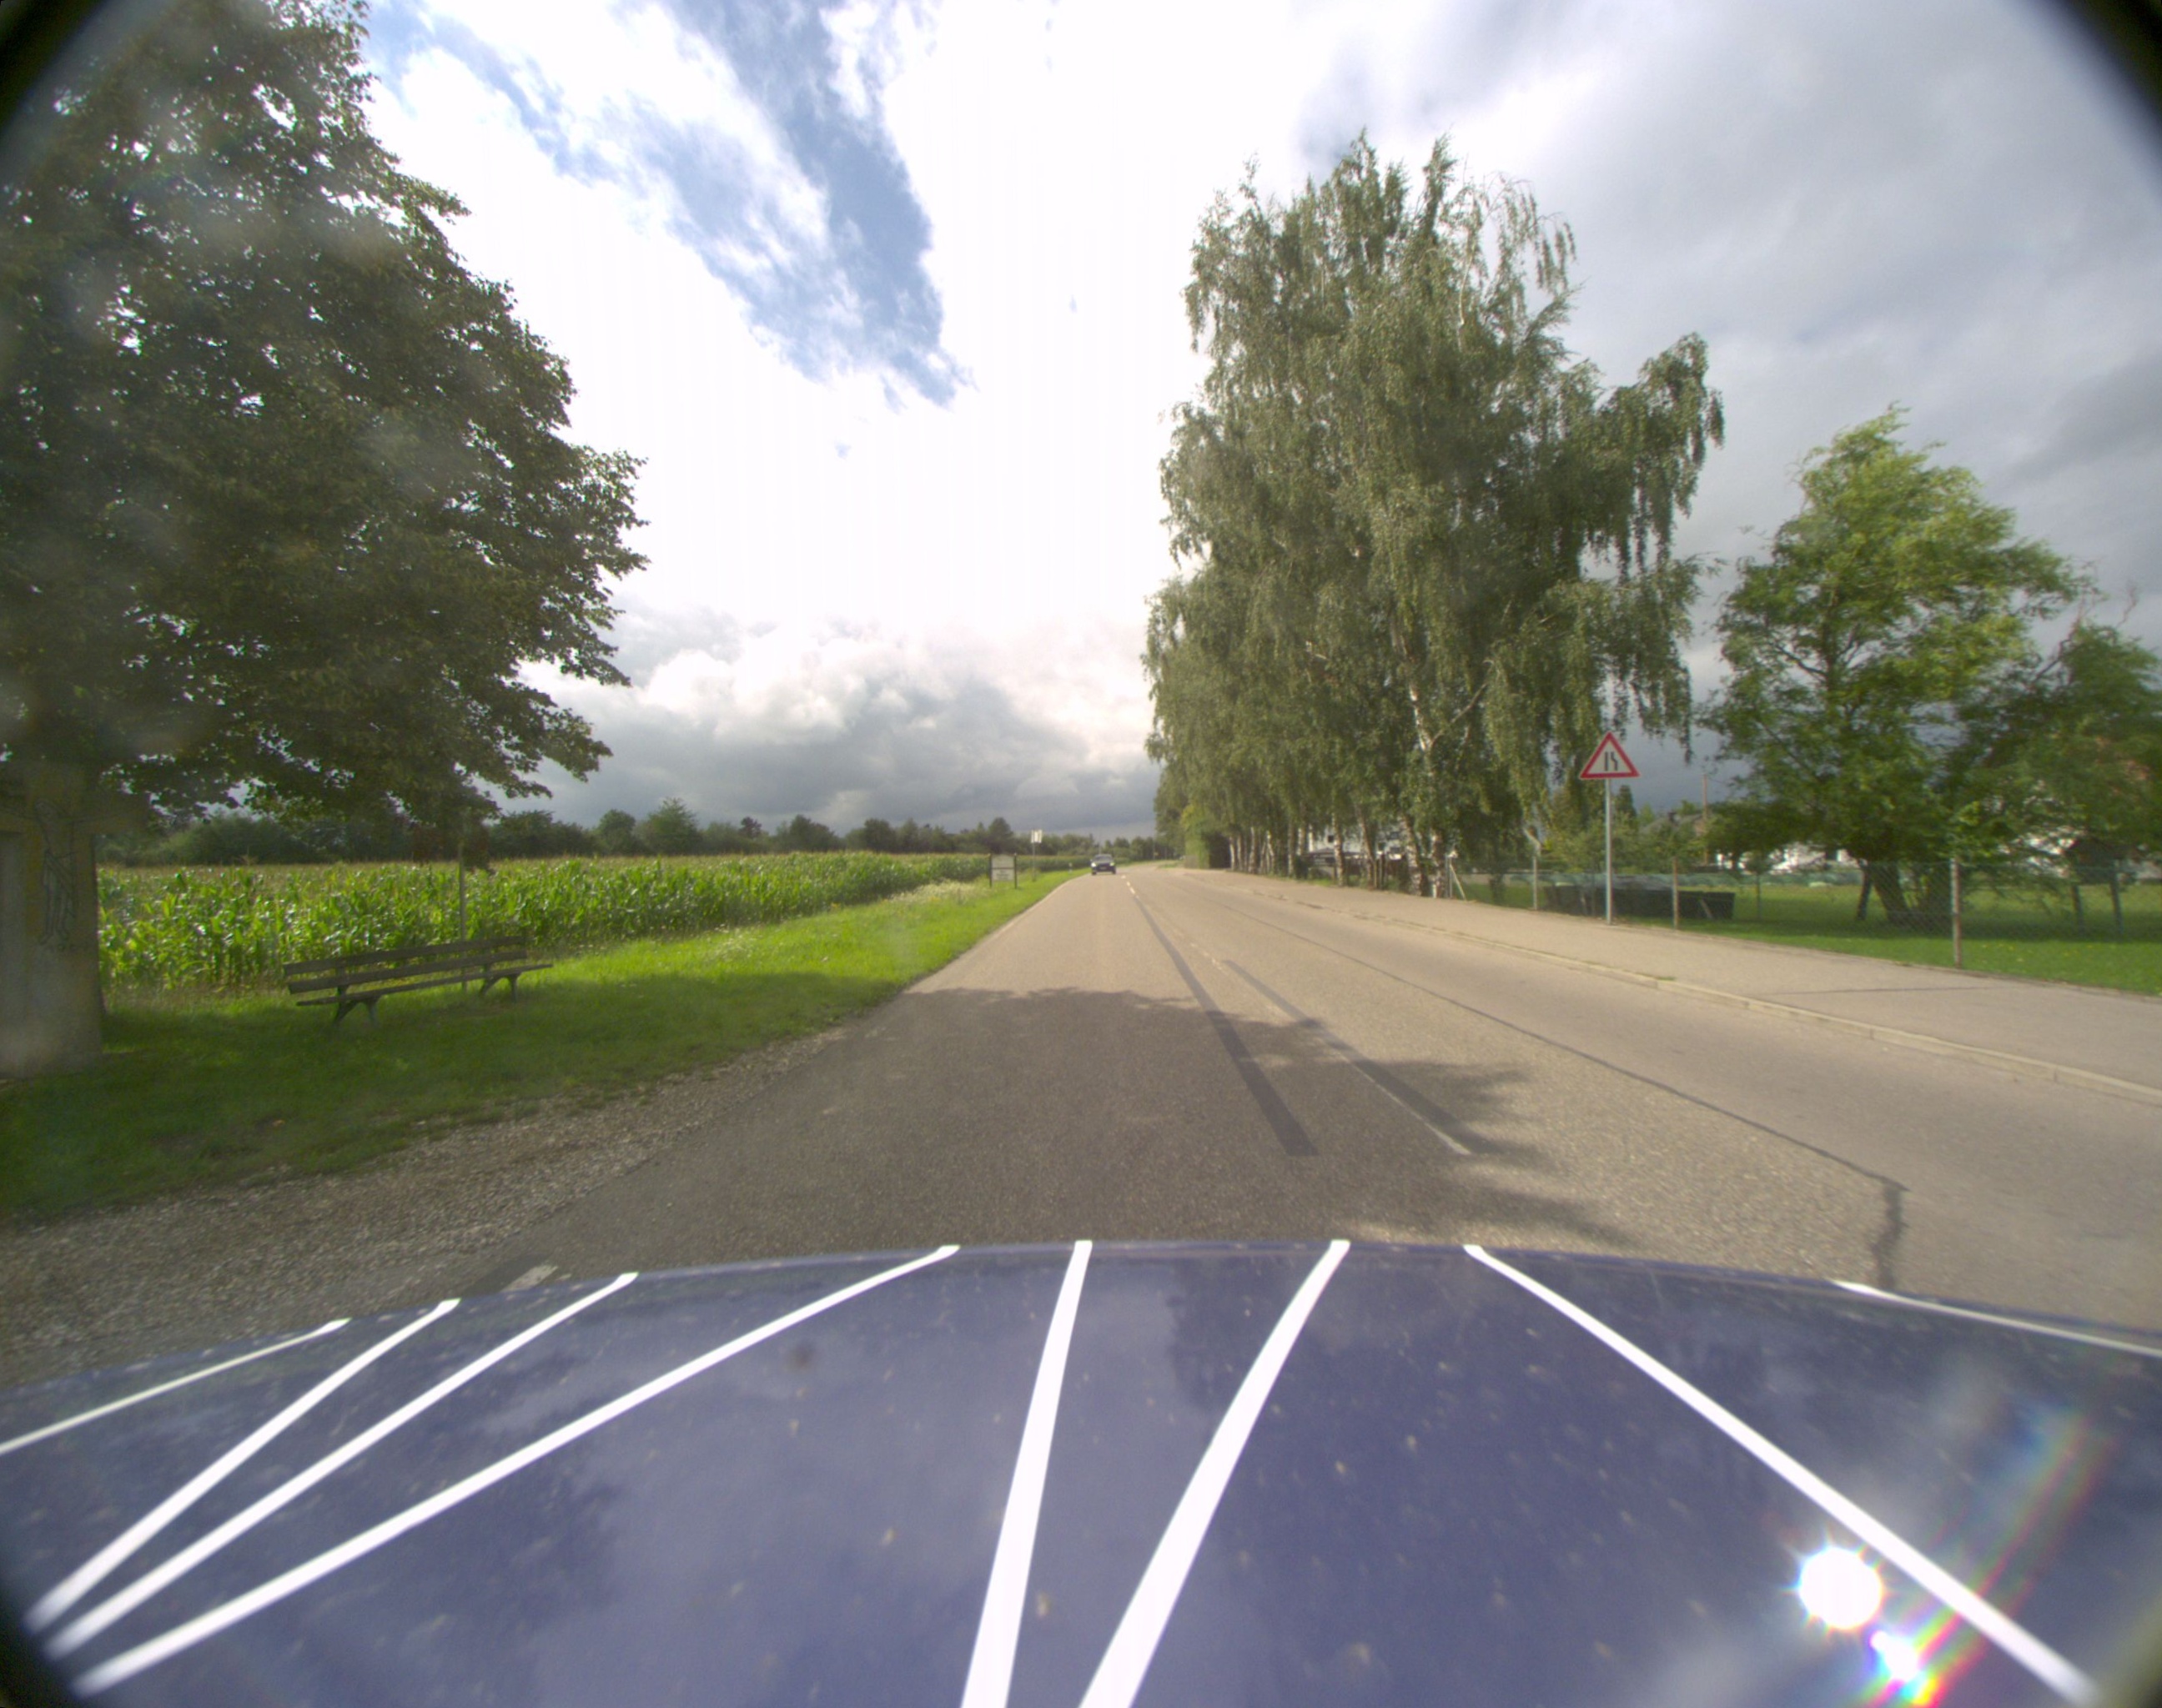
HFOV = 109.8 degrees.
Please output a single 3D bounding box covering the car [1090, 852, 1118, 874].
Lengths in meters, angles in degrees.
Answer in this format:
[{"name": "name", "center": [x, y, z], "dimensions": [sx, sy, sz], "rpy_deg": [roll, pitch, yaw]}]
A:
[{"name": "car", "center": [1.856, 0.691, 60.940], "dimensions": [1.998, 1.594, 4.001], "rpy_deg": [-2, 0, 4]}]
